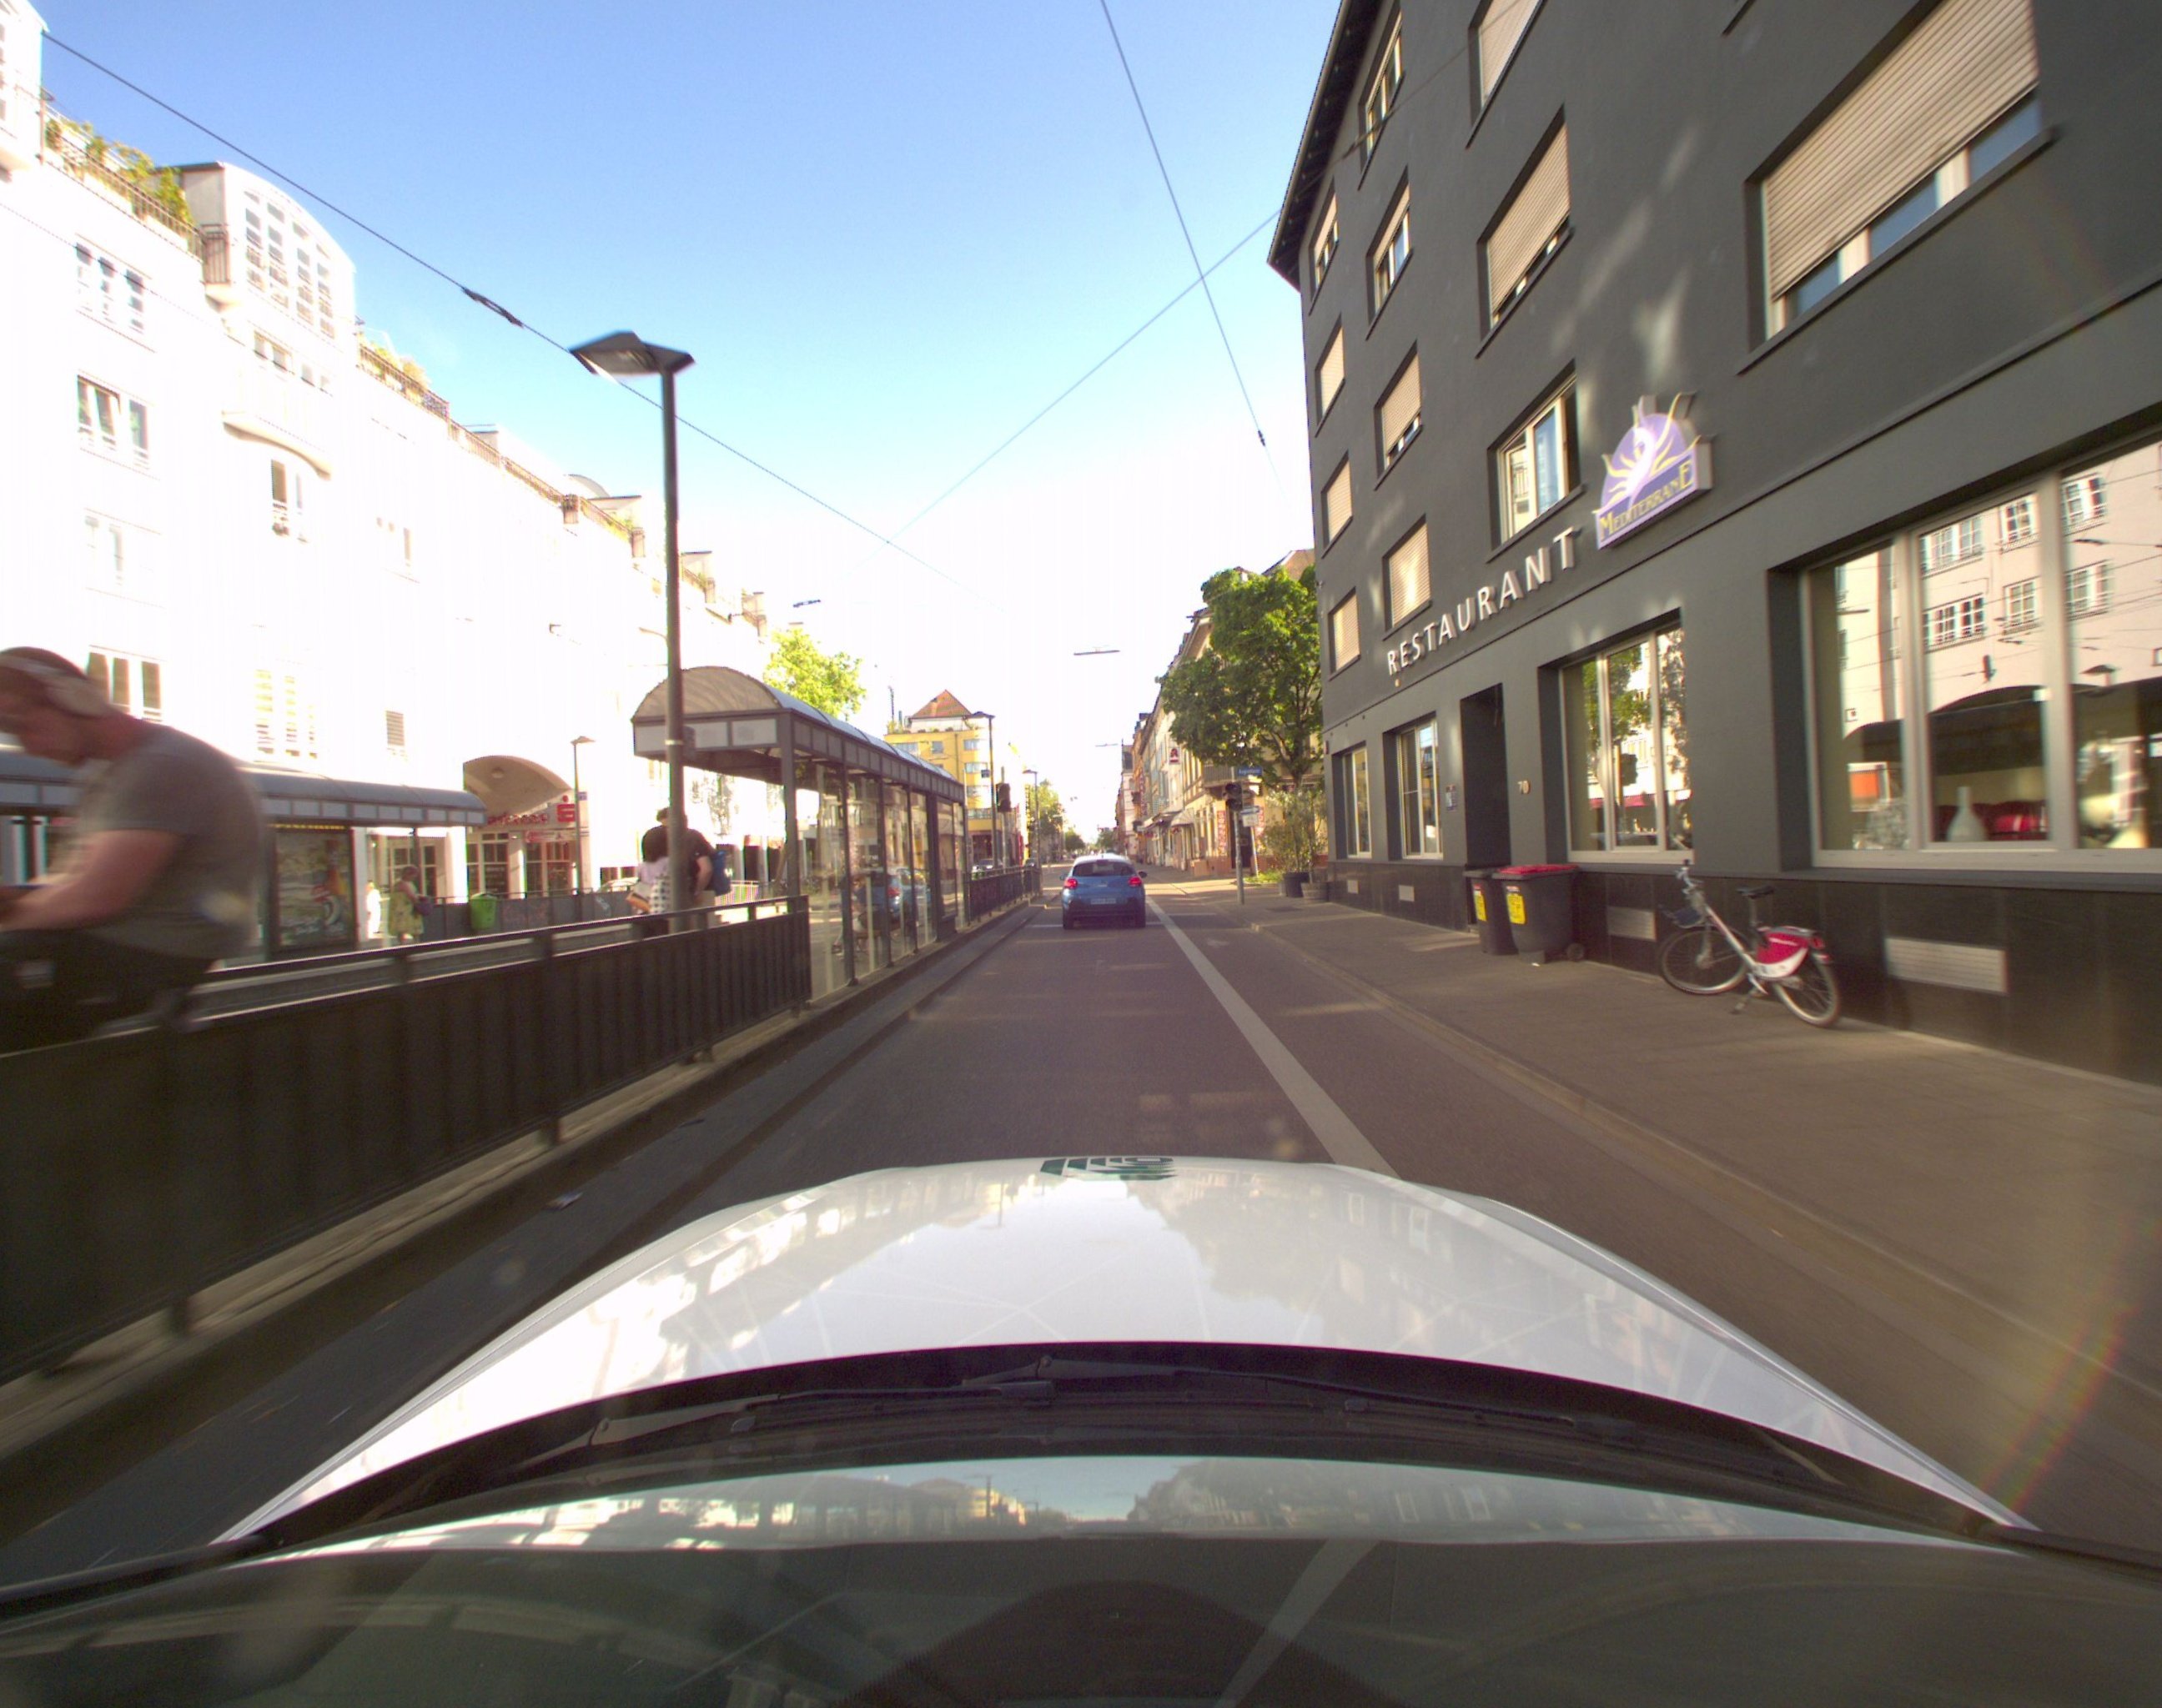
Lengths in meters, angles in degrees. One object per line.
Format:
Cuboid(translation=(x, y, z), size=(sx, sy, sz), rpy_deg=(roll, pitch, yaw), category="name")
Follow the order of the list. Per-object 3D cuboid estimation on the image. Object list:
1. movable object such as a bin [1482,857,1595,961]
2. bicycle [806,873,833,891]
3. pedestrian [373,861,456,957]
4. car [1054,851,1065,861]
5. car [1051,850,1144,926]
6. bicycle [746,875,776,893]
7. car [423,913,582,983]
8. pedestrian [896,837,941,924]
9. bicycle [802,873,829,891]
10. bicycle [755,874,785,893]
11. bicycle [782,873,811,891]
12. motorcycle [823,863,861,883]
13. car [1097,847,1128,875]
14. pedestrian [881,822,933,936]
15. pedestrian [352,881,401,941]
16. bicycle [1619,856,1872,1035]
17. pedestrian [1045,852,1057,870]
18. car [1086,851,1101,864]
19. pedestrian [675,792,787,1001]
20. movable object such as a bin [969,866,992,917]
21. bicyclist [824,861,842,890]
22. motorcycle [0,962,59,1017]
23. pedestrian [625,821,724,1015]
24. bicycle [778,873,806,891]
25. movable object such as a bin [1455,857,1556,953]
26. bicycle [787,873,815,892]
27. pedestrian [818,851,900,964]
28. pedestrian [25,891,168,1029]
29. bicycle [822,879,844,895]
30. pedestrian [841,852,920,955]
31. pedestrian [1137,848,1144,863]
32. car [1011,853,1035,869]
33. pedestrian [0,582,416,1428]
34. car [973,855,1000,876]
Cuboid(translation=(5.072, 0.590, 9.082), size=(0.745, 1.036, 0.754), rpy_deg=(-6, 0, 2), category="movable object such as a bin")
Cuboid(translation=(-15.136, 1.620, 47.223), size=(0.387, 0.940, 1.505), rpy_deg=(-3, 0, 37), category="bicycle")
Cuboid(translation=(-11.394, 0.916, 13.941), size=(0.729, 1.559, 0.743), rpy_deg=(-2, 1, 0), category="pedestrian")
Cuboid(translation=(-4.434, 0.391, 167.911), size=(1.986, 2.014, 4.001), rpy_deg=(-1, -1, 2), category="car")
Cuboid(translation=(0.372, 0.648, 17.602), size=(1.774, 1.451, 3.655), rpy_deg=(-1, 0, 2), category="car")
Cuboid(translation=(-17.812, 1.662, 45.315), size=(0.387, 0.940, 1.505), rpy_deg=(-3, 0, 37), category="bicycle")
Cuboid(translation=(-16.052, 2.550, 22.834), size=(1.685, 1.421, 3.648), rpy_deg=(-2, 1, 2), category="car")
Cuboid(translation=(-3.007, 0.486, 15.094), size=(0.619, 1.558, 0.568), rpy_deg=(-3, 0, 2), category="pedestrian")
Cuboid(translation=(-15.494, 1.631, 47.505), size=(0.387, 0.940, 1.505), rpy_deg=(-3, 0, 37), category="bicycle")
Cuboid(translation=(-17.091, 1.624, 44.774), size=(0.387, 0.940, 1.505), rpy_deg=(-3, 0, 37), category="bicycle")
Cuboid(translation=(-16.055, 1.589, 45.969), size=(0.387, 0.940, 1.505), rpy_deg=(-3, 0, 37), category="bicycle")
Cuboid(translation=(-17.360, 1.382, 59.129), size=(2.506, 1.288, 0.668), rpy_deg=(-3, 0, -2), category="motorcycle")
Cuboid(translation=(2.102, 0.480, 54.845), size=(1.986, 1.743, 4.001), rpy_deg=(-1, -1, 2), category="car")
Cuboid(translation=(-2.800, 0.389, 13.073), size=(0.566, 1.750, 0.713), rpy_deg=(-3, 0, -28), category="pedestrian")
Cuboid(translation=(-20.185, 1.629, 23.345), size=(0.593, 1.621, 0.845), rpy_deg=(-3, 0, 2), category="pedestrian")
Cuboid(translation=(4.909, 0.599, 6.187), size=(0.457, 1.123, 1.774), rpy_deg=(-4, 0, 2), category="bicycle")
Cuboid(translation=(-2.849, 0.643, 76.845), size=(0.842, 1.654, 0.691), rpy_deg=(-3, 0, -27), category="pedestrian")
Cuboid(translation=(1.711, 0.537, 111.832), size=(1.986, 1.743, 4.001), rpy_deg=(-1, -1, 2), category="car")
Cuboid(translation=(-3.163, 0.366, 7.369), size=(0.710, 1.777, 0.569), rpy_deg=(-3, 0, 37), category="pedestrian")
Cuboid(translation=(-2.060, 0.765, 16.672), size=(0.345, 1.007, 0.404), rpy_deg=(-3, 0, 3), category="movable object such as a bin")
Cuboid(translation=(-13.838, 1.183, 45.443), size=(0.669, 1.557, 0.778), rpy_deg=(-3, 0, 2), category="bicyclist")
Cuboid(translation=(-16.071, 2.023, 11.579), size=(0.491, 0.720, 2.007), rpy_deg=(-1, -1, 3), category="motorcycle")
Cuboid(translation=(-3.457, 0.517, 6.925), size=(0.579, 1.562, 0.473), rpy_deg=(-3, 0, 37), category="pedestrian")
Cuboid(translation=(-16.382, 1.593, 46.223), size=(0.387, 0.940, 1.505), rpy_deg=(-3, 0, 37), category="bicycle")
Cuboid(translation=(5.103, 0.591, 9.835), size=(0.745, 1.036, 0.754), rpy_deg=(-6, 0, 2), category="movable object such as a bin")
Cuboid(translation=(-15.712, 1.580, 45.710), size=(0.387, 0.940, 1.505), rpy_deg=(-3, 0, 37), category="bicycle")
Cuboid(translation=(-2.663, 0.622, 9.822), size=(0.708, 1.272, 0.657), rpy_deg=(-3, 0, 4), category="pedestrian")
Cuboid(translation=(-11.860, 1.249, 9.839), size=(0.729, 1.527, 0.743), rpy_deg=(-2, 1, 0), category="pedestrian")
Cuboid(translation=(-13.831, 1.836, 45.472), size=(0.564, 0.757, 1.939), rpy_deg=(-3, 0, 3), category="bicycle")
Cuboid(translation=(-2.624, 0.627, 10.734), size=(0.761, 1.272, 0.720), rpy_deg=(-3, 0, 4), category="pedestrian")
Cuboid(translation=(6.654, 0.174, 91.005), size=(0.690, 1.651, 0.680), rpy_deg=(-3, 0, 0), category="pedestrian")
Cuboid(translation=(-6.155, 0.688, 87.065), size=(1.943, 1.486, 4.003), rpy_deg=(-4, 0, 2), category="car")
Cuboid(translation=(-2.425, 0.308, 2.074), size=(0.633, 1.698, 0.935), rpy_deg=(-1, -1, 9), category="pedestrian")
Cuboid(translation=(-8.294, 0.961, 71.841), size=(1.747, 1.615, 4.826), rpy_deg=(-4, 0, -1), category="car")
